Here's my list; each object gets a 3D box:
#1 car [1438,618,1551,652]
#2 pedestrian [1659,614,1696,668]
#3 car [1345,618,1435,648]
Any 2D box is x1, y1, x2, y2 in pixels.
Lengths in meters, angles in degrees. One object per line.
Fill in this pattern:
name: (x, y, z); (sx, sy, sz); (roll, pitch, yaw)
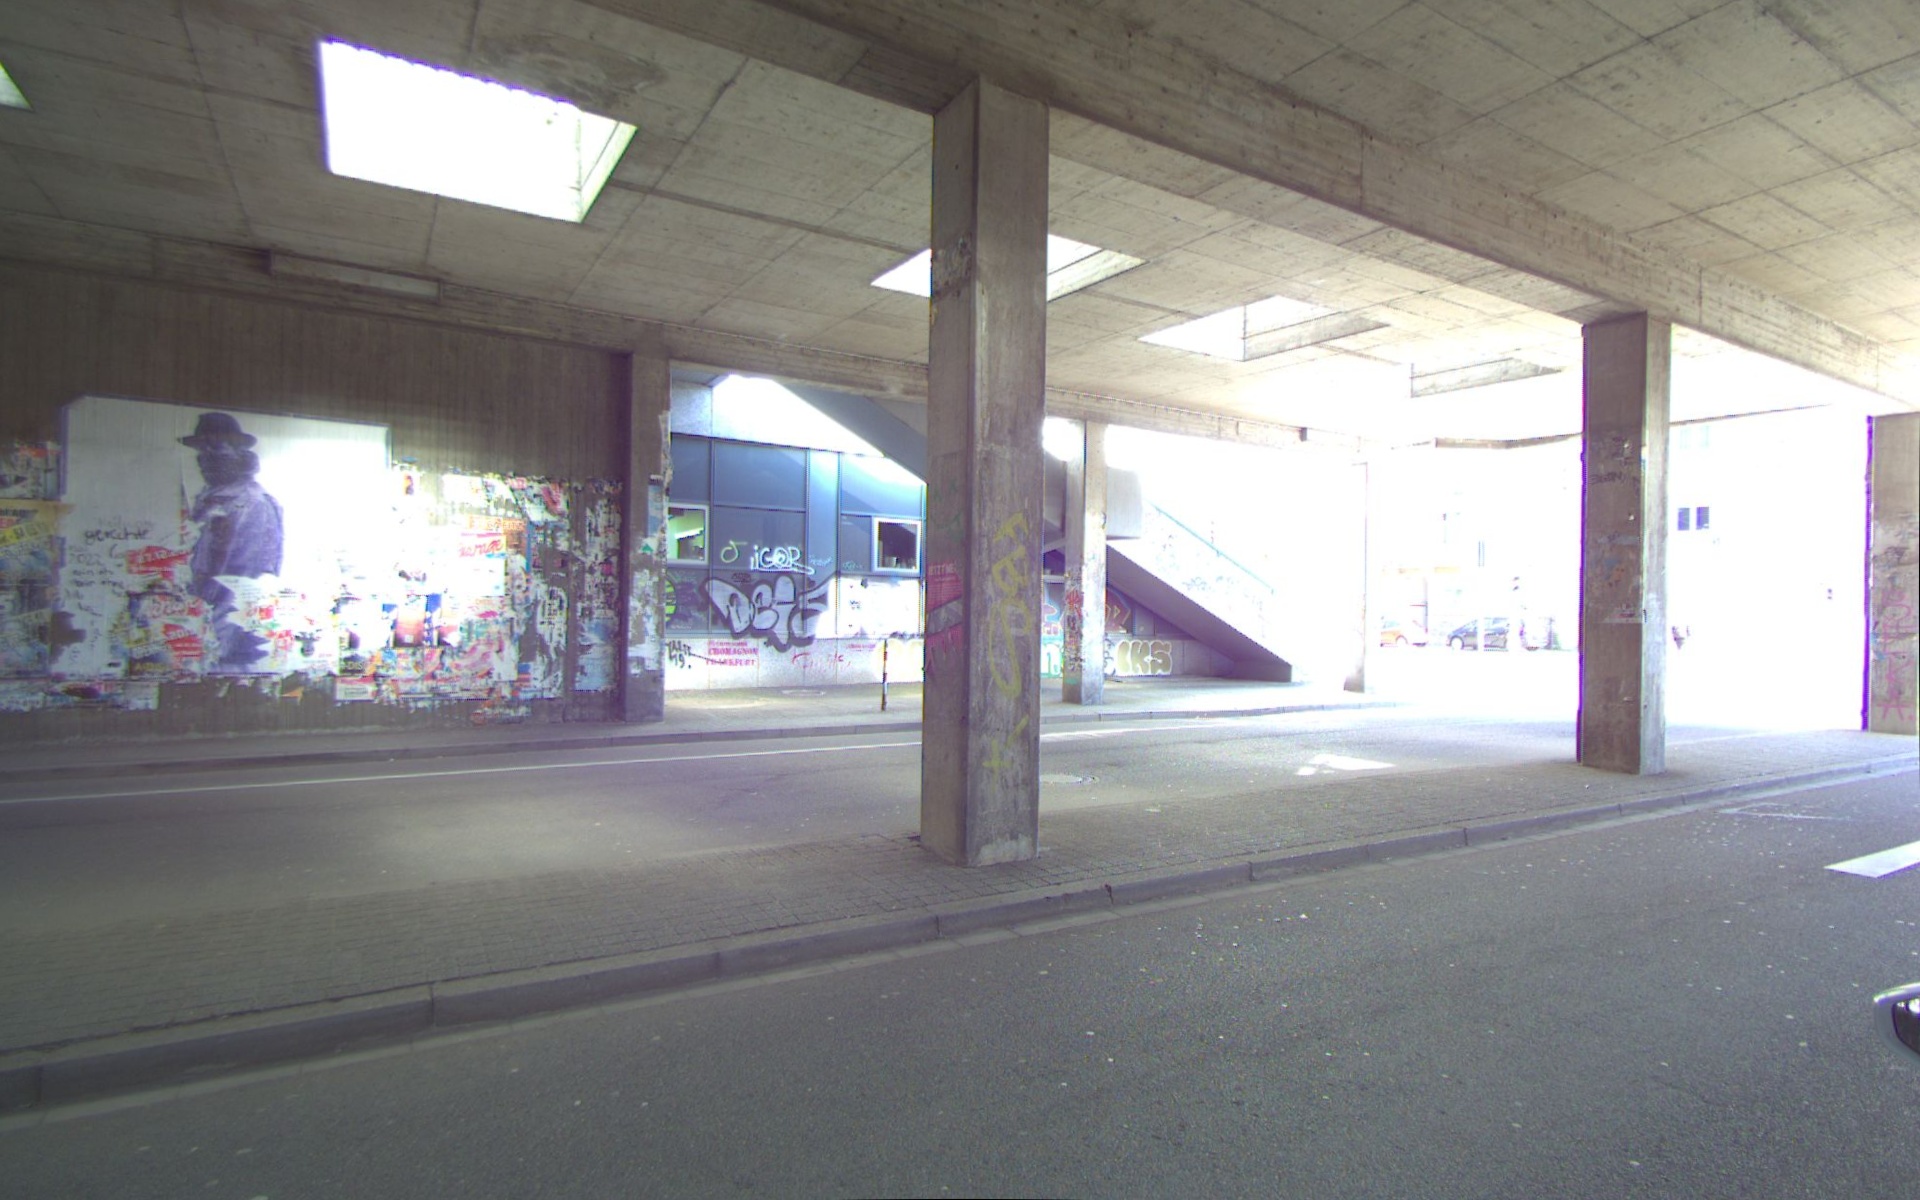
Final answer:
car: (25.293, 1.647, 47.684); (1.905, 1.428, 4.382); (2, 0, -32)
pedestrian: (22.403, 1.270, 31.365); (0.732, 1.659, 0.669); (2, 0, -30)
car: (22.460, 1.718, 52.614); (1.905, 1.428, 3.965); (2, 0, -32)
